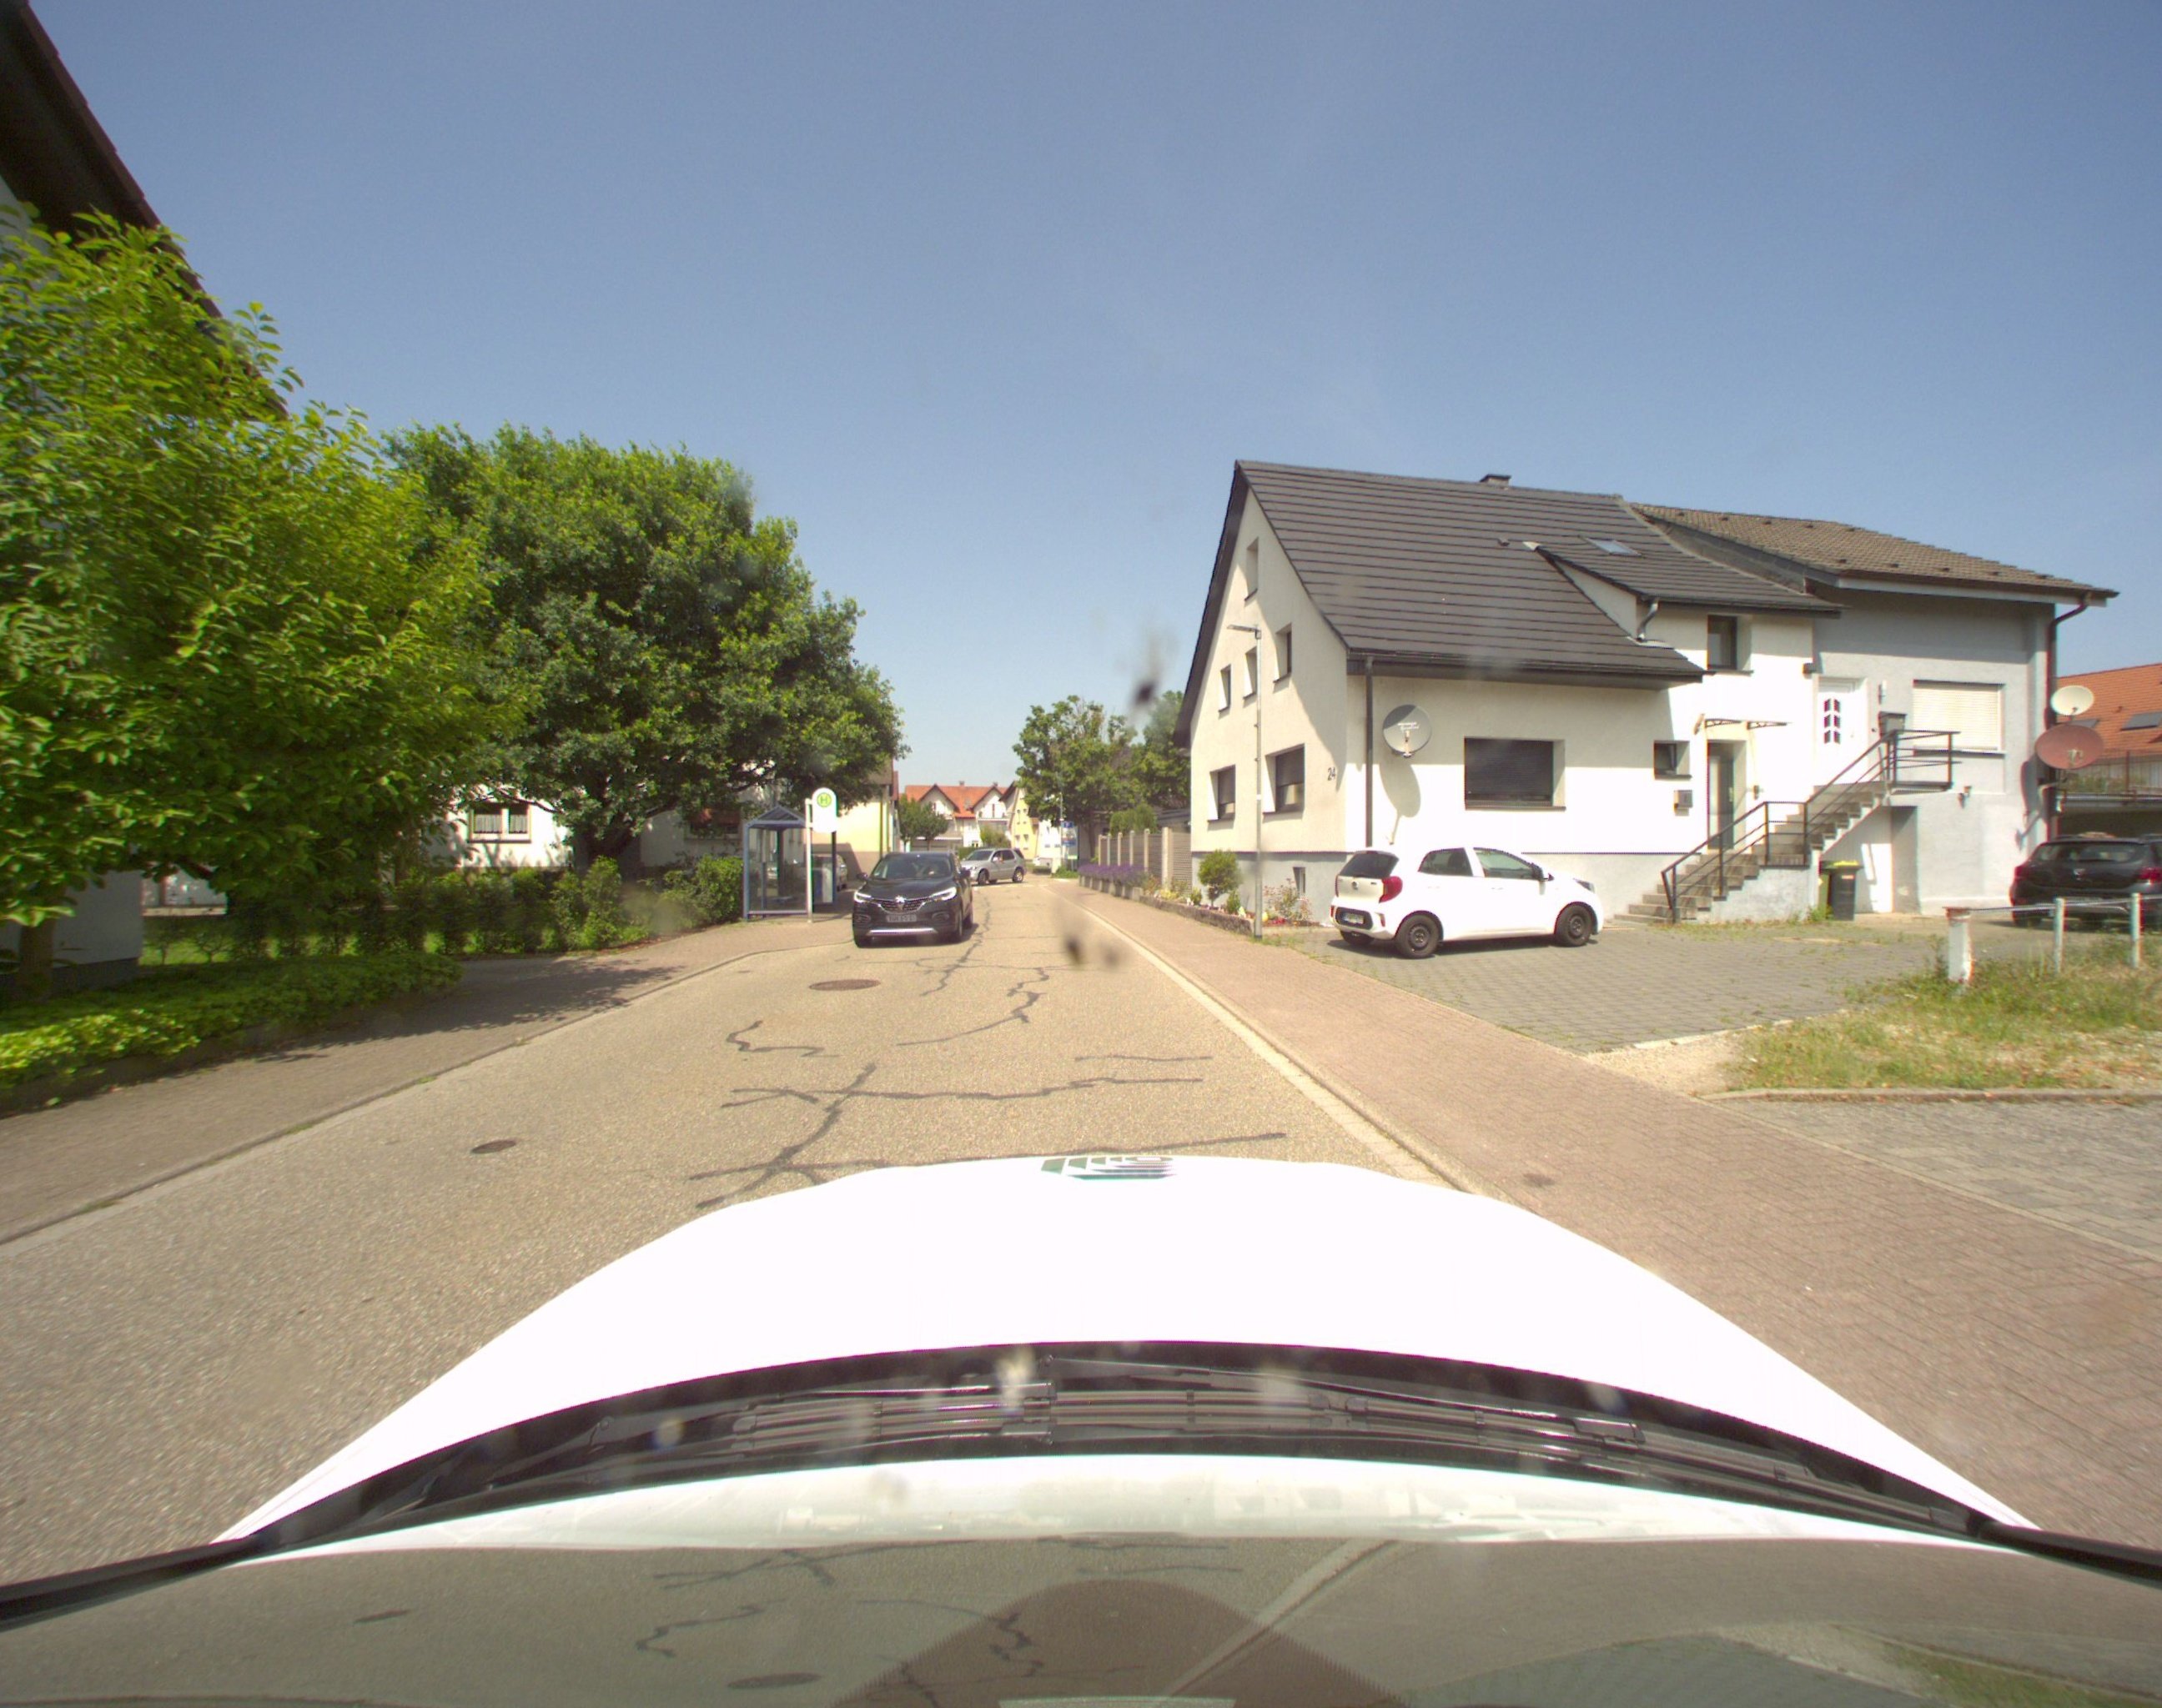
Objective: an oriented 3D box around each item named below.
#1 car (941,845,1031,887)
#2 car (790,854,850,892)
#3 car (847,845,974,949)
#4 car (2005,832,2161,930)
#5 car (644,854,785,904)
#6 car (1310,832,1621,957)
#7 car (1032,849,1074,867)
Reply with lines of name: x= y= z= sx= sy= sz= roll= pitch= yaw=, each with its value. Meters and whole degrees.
car: x=-4.527 y=0.550 z=39.413 sx=1.867 sy=1.767 sz=4.359 roll=-2 pitch=1 yaw=33
car: x=-10.495 y=0.723 z=32.948 sx=1.779 sy=1.434 sz=4.041 roll=0 pitch=0 yaw=-10
car: x=-2.987 y=0.685 z=15.049 sx=1.773 sy=1.623 sz=4.098 roll=-1 pitch=0 yaw=-5
car: x=17.682 y=0.434 z=13.849 sx=3.581 sy=1.491 sz=1.704 roll=1 pitch=-1 yaw=-25
car: x=-12.880 y=0.863 z=28.869 sx=4.159 sy=1.538 sz=1.768 roll=-2 pitch=0 yaw=-9
car: x=5.337 y=0.484 z=11.496 sx=3.660 sy=1.474 sz=1.758 roll=-2 pitch=1 yaw=-12
car: x=-2.249 y=0.308 z=65.029 sx=3.052 sy=1.345 sz=1.413 roll=-1 pitch=-1 yaw=-19
